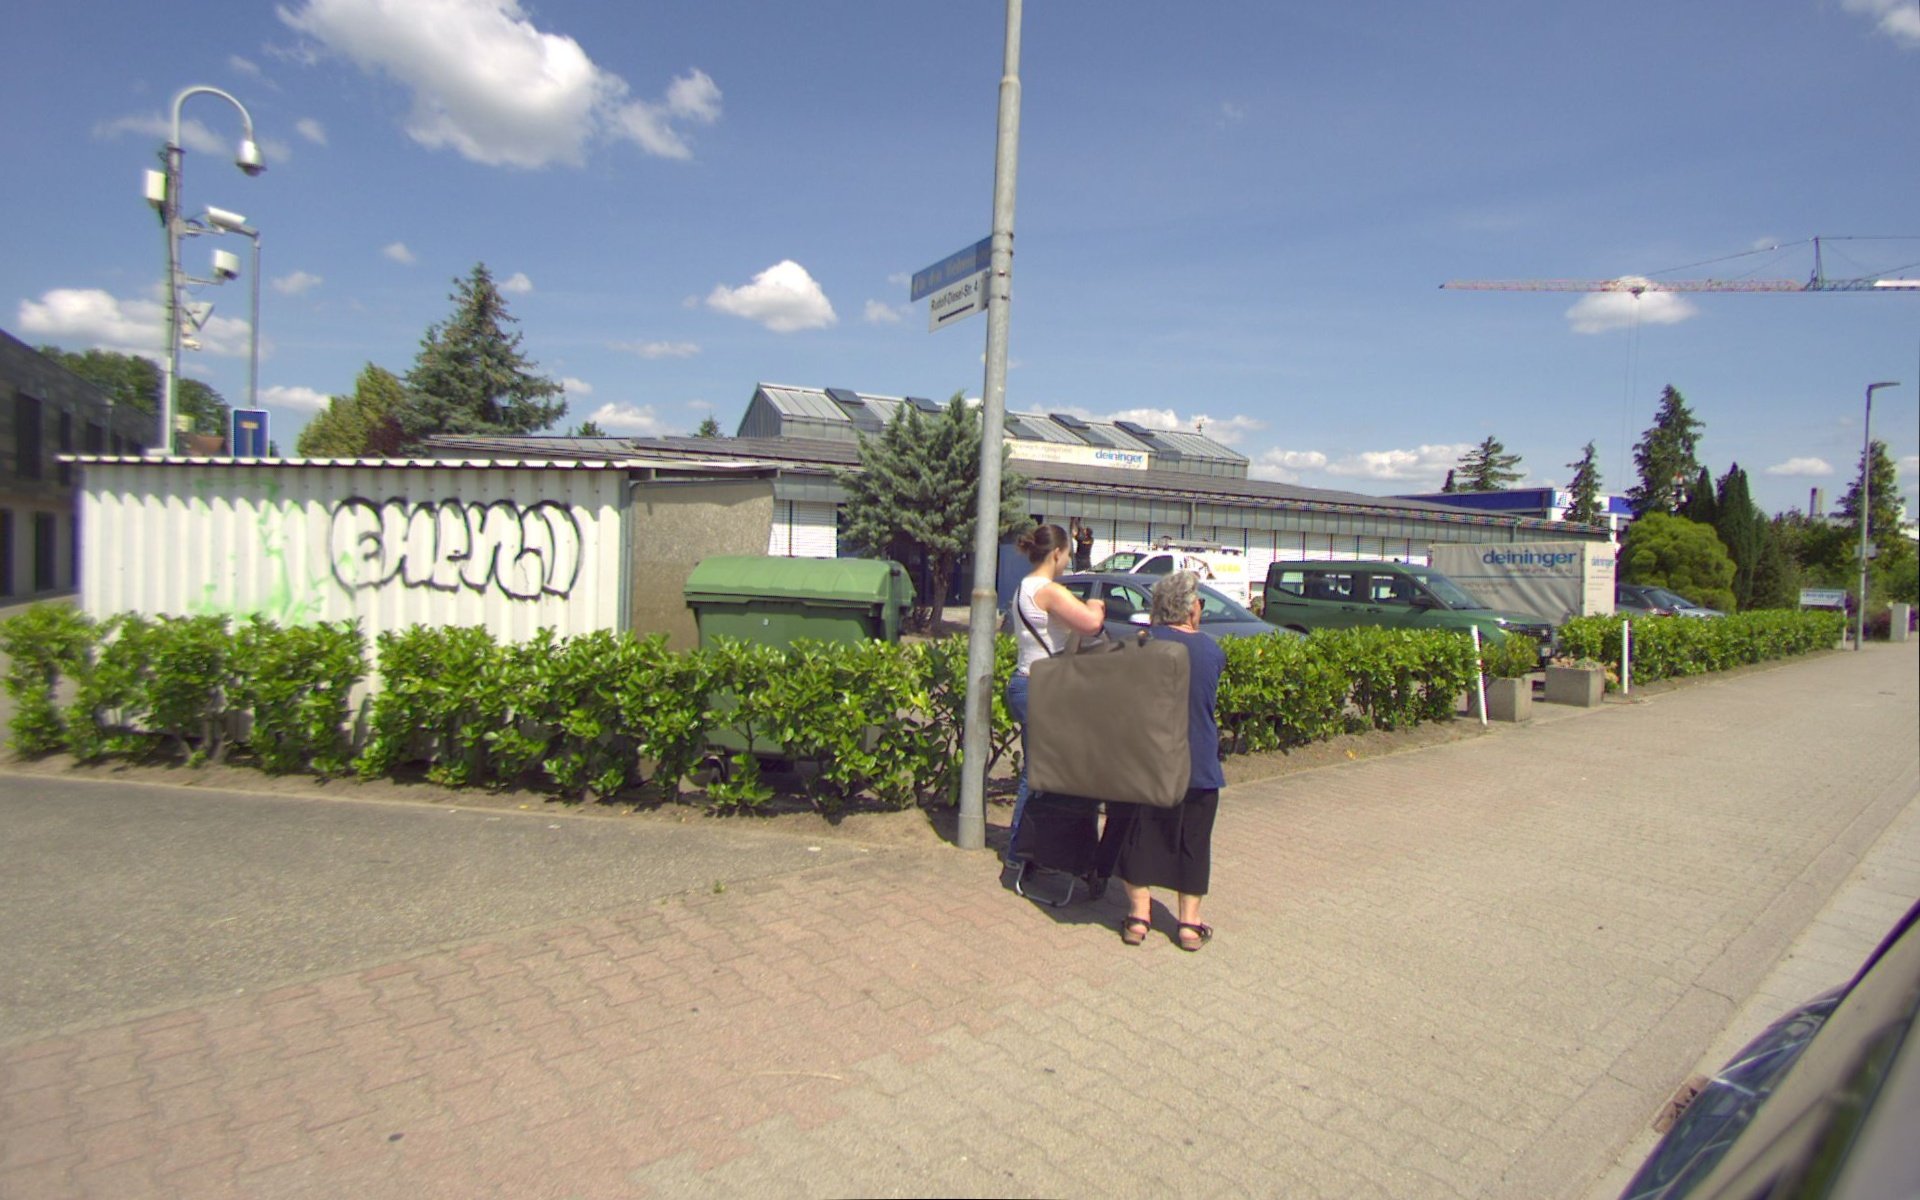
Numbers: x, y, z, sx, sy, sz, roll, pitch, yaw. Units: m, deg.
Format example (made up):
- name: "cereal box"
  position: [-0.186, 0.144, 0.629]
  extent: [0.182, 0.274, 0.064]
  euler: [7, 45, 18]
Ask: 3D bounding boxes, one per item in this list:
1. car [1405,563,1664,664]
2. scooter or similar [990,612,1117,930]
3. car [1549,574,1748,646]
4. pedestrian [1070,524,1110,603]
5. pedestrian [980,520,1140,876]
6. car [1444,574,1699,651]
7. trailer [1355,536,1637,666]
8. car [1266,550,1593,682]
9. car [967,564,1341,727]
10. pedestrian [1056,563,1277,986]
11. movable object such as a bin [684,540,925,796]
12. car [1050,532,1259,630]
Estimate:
- name: "car"
  position: [10.973, 0.160, 19.528]
  extent: [4.036, 1.593, 1.687]
  euler: [4, 5, 44]
- name: "scooter or similar"
  position: [0.386, 0.674, 4.201]
  extent: [0.391, 1.212, 0.334]
  euler: [-2, 4, -40]
- name: "car"
  position: [15.756, 0.179, 23.280]
  extent: [1.737, 1.418, 3.364]
  euler: [0, 3, -36]
- name: "pedestrian"
  position: [3.304, -0.948, 25.722]
  extent: [0.678, 1.966, 0.717]
  euler: [-3, 5, -42]
- name: "pedestrian"
  position: [0.464, 0.408, 4.764]
  extent: [0.502, 1.558, 0.536]
  euler: [-3, 5, -41]
- name: "car"
  position: [13.317, 0.189, 22.246]
  extent: [1.785, 1.458, 4.479]
  euler: [0, 2, -43]
- name: "trailer"
  position: [9.434, -0.062, 18.050]
  extent: [1.965, 2.038, 3.995]
  euler: [-1, 2, -40]
- name: "car"
  position: [7.106, 0.107, 15.671]
  extent: [1.770, 1.653, 4.221]
  euler: [-3, 5, -41]
- name: "car"
  position: [1.995, 0.361, 11.306]
  extent: [1.785, 1.473, 3.854]
  euler: [0, 2, -39]
- name: "pedestrian"
  position: [0.775, 0.584, 3.831]
  extent: [0.574, 1.422, 0.566]
  euler: [-3, 5, -41]
- name: "movable object such as a bin"
  position: [-0.955, 0.379, 6.499]
  extent: [1.248, 1.476, 1.045]
  euler: [1, 1, 12]
- name: "car"
  position: [4.748, -0.492, 24.676]
  extent: [4.619, 2.150, 2.112]
  euler: [0, 4, -26]
